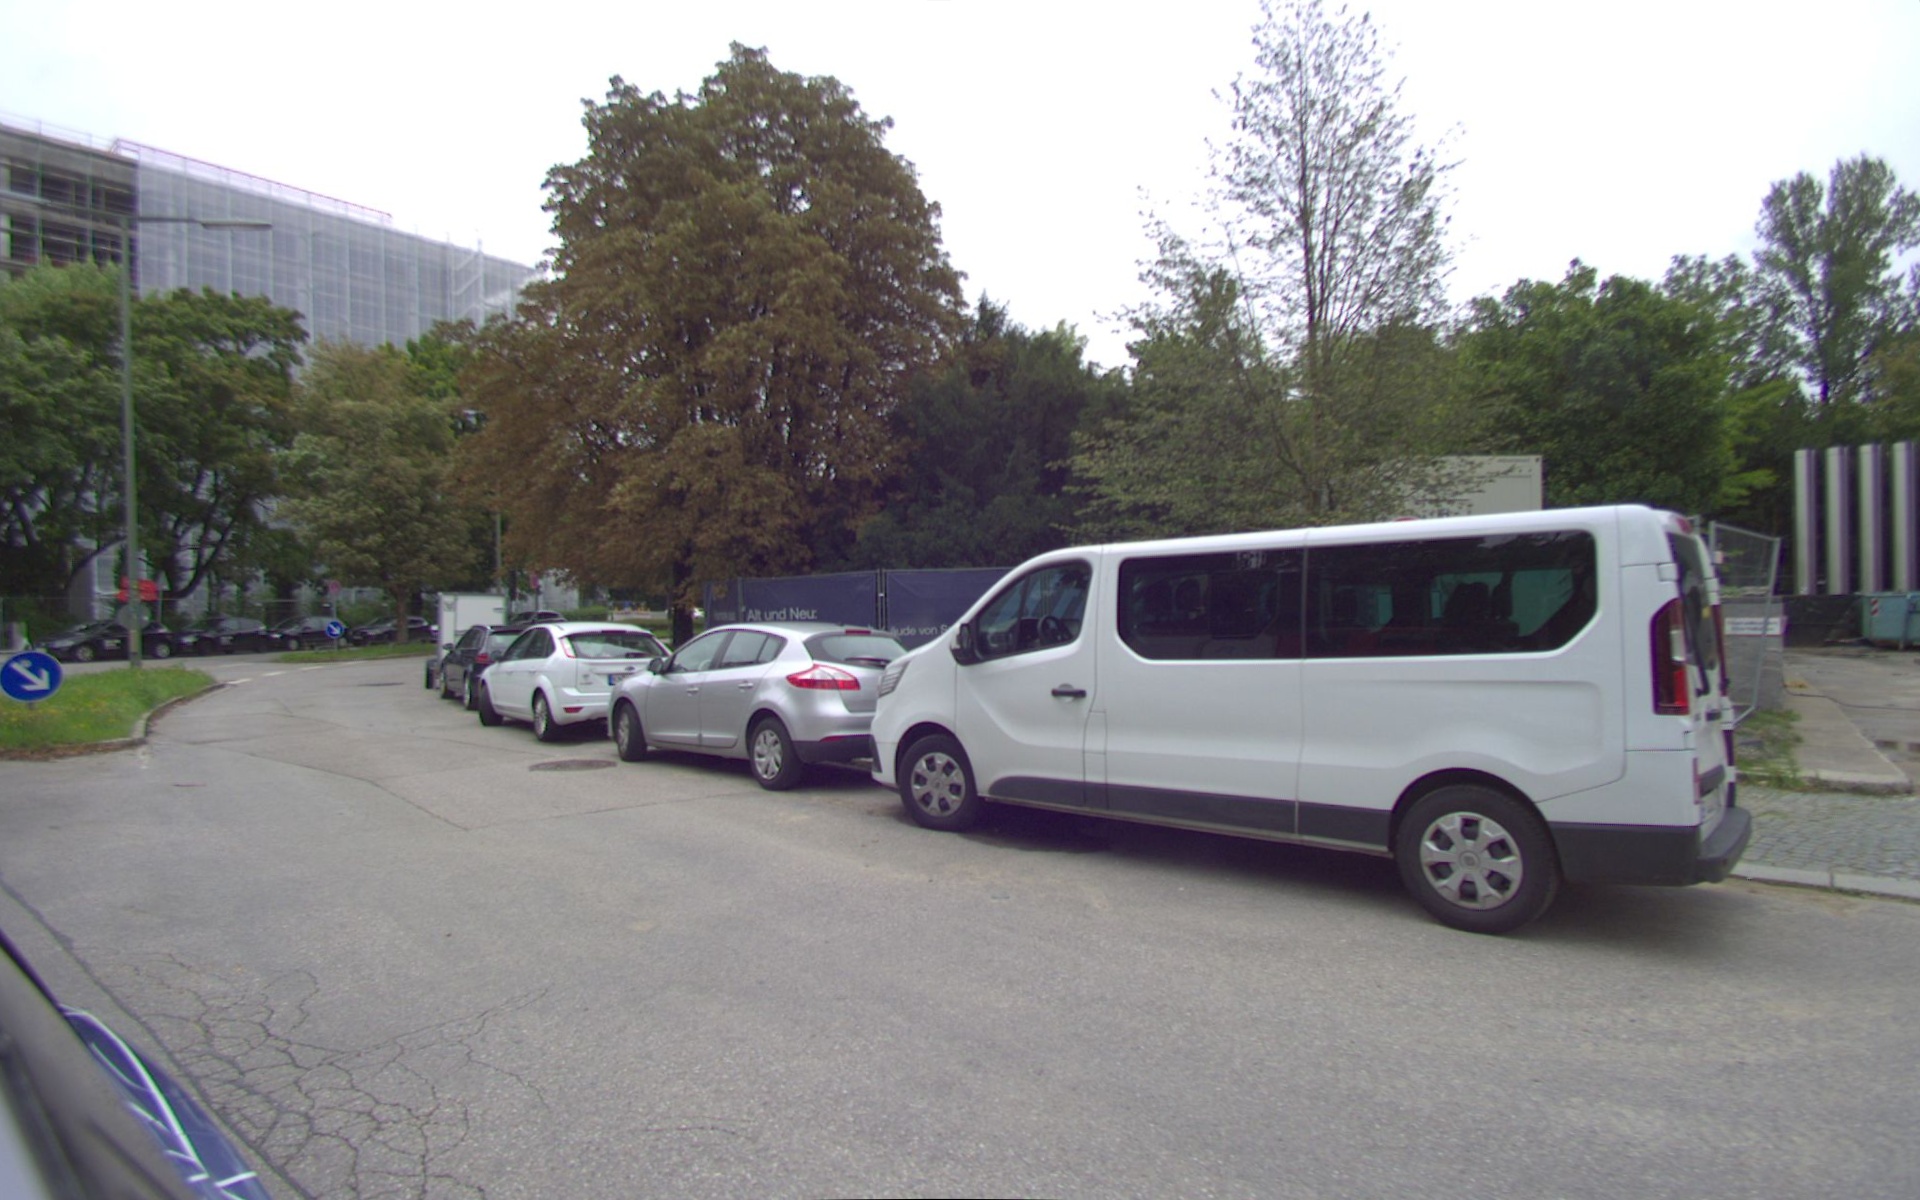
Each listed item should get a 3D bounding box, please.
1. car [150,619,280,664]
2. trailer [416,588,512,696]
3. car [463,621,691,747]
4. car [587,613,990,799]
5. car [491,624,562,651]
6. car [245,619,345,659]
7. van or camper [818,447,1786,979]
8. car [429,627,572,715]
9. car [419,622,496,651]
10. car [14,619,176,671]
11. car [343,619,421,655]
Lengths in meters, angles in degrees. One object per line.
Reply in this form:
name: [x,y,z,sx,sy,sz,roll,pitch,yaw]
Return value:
car: [-28.580,1.553,38.980,1.770,1.584,3.874,1,0,10]
trailer: [-10.905,0.899,22.323,1.752,2.198,2.786,1,-1,-26]
car: [-5.380,1.045,13.916,1.715,1.470,4.038,2,-3,-39]
car: [-1.870,0.906,10.192,4.121,1.470,1.971,-1,-3,45]
car: [-24.374,2.079,57.049,1.511,1.397,3.691,1,0,23]
car: [-28.106,1.610,42.871,1.645,1.584,3.246,1,0,16]
van or camper: [1.646,0.517,6.517,5.585,2.050,1.968,-2,-3,42]
car: [-8.438,1.212,18.429,1.667,1.423,3.805,2,-2,-35]
car: [-26.037,1.861,52.534,1.507,1.397,3.701,1,0,16]
car: [-29.352,1.481,34.498,1.773,1.584,3.867,1,0,15]
car: [-27.112,1.721,47.542,1.509,1.584,2.894,1,0,20]
